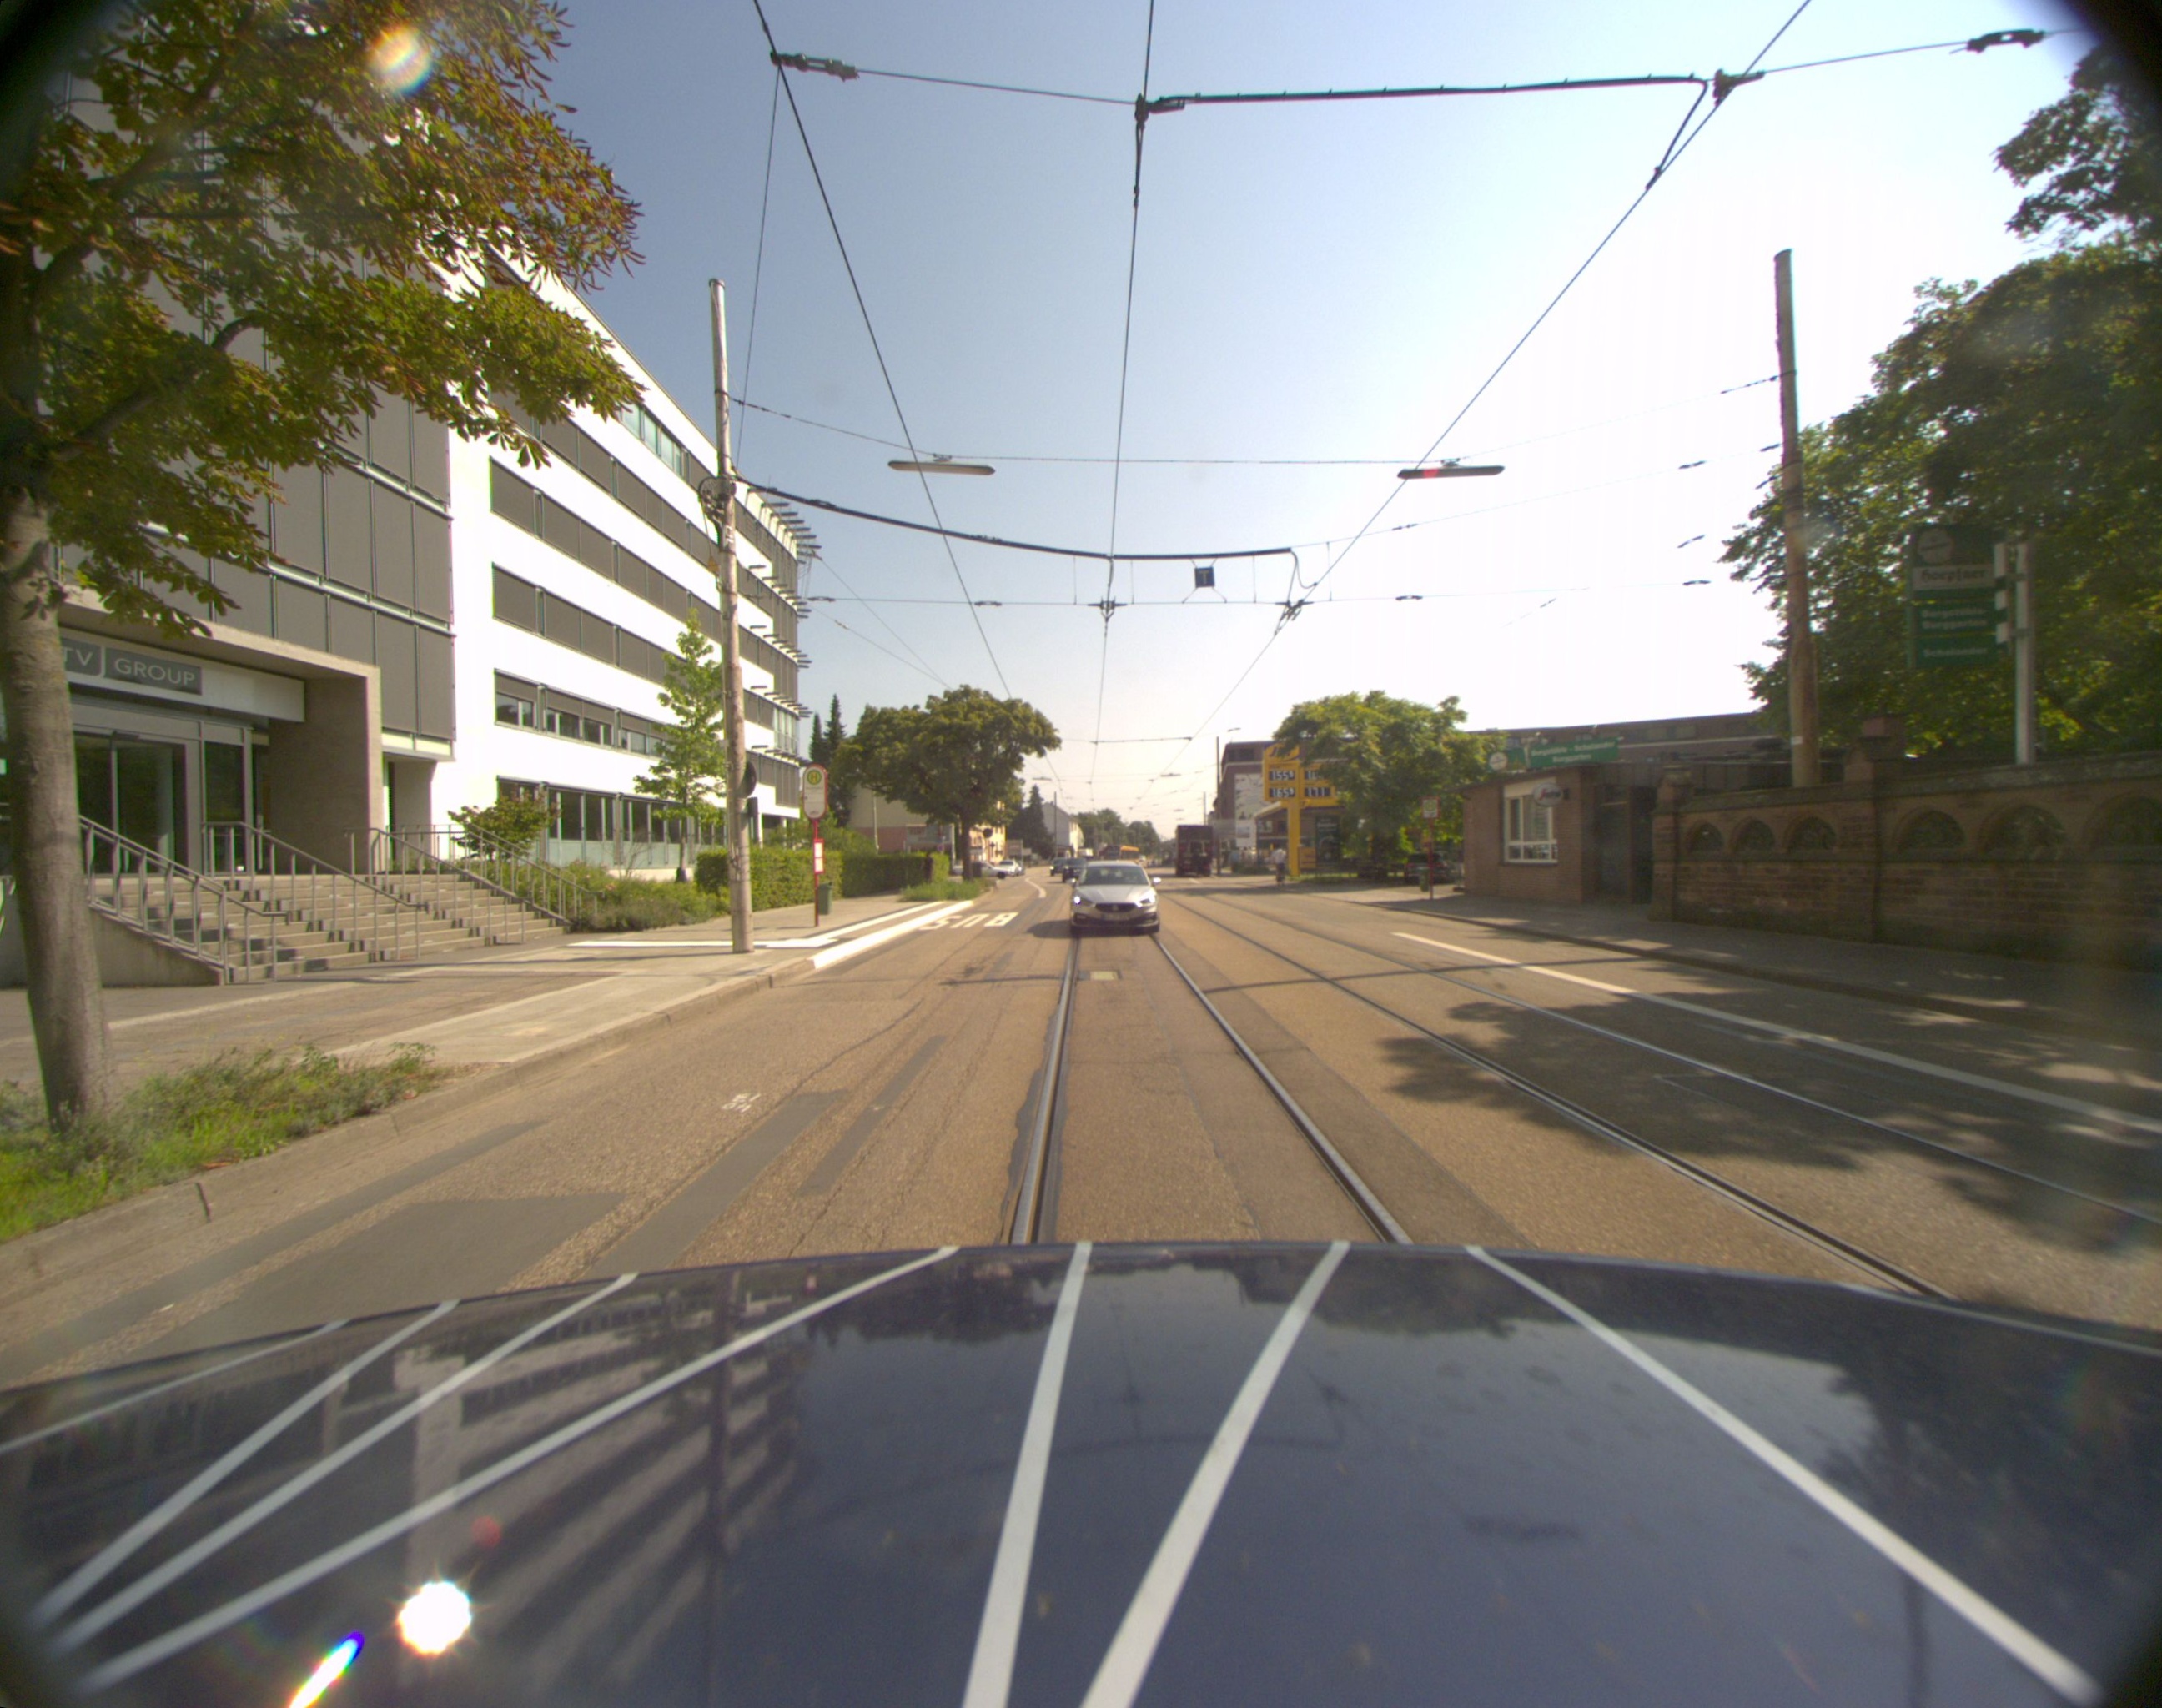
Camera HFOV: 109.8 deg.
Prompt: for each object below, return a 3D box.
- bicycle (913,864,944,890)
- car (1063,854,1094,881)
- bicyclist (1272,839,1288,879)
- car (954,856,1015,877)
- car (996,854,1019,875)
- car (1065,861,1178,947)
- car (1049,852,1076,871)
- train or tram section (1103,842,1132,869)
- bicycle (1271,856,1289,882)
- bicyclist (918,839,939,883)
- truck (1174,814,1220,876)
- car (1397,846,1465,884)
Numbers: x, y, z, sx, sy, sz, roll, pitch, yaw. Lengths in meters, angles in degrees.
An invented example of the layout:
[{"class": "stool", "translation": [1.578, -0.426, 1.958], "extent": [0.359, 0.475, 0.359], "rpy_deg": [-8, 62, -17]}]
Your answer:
[{"class": "bicycle", "translation": [-7.221, 1.084, 36.195], "extent": [1.139, 1.118, 2.535], "rpy_deg": [-2, 1, -5]}, {"class": "car", "translation": [-0.132, 0.832, 47.552], "extent": [1.834, 1.543, 4.032], "rpy_deg": [-2, 1, 0]}, {"class": "bicyclist", "translation": [9.636, 0.223, 36.750], "extent": [0.642, 1.918, 1.177], "rpy_deg": [-1, 1, 17]}, {"class": "car", "translation": [-7.364, 0.947, 58.436], "extent": [4.552, 1.506, 1.960], "rpy_deg": [-2, 1, -4]}, {"class": "car", "translation": [-6.995, 0.952, 72.459], "extent": [1.960, 1.910, 4.552], "rpy_deg": [-2, 1, -4]}, {"class": "car", "translation": [0.729, 0.892, 15.644], "extent": [1.928, 1.465, 4.817], "rpy_deg": [-1, 0, 0]}, {"class": "car", "translation": [-1.660, 0.677, 71.105], "extent": [2.261, 1.660, 5.652], "rpy_deg": [-2, 1, 1]}, {"class": "train or tram section", "translation": [5.680, 0.137, 121.916], "extent": [4.111, 3.711, 24.379], "rpy_deg": [-1, 0, 2]}, {"class": "bicycle", "translation": [9.622, 0.751, 36.657], "extent": [0.786, 1.232, 2.037], "rpy_deg": [-1, -2, 16]}, {"class": "bicyclist", "translation": [-7.234, 0.326, 36.072], "extent": [0.783, 2.002, 1.274], "rpy_deg": [-2, 1, -5]}, {"class": "truck", "translation": [9.346, -0.734, 62.875], "extent": [3.171, 4.427, 16.847], "rpy_deg": [-1, 1, 7]}, {"class": "car", "translation": [15.351, 0.443, 33.219], "extent": [1.932, 1.452, 4.536], "rpy_deg": [-1, 1, 35]}]
